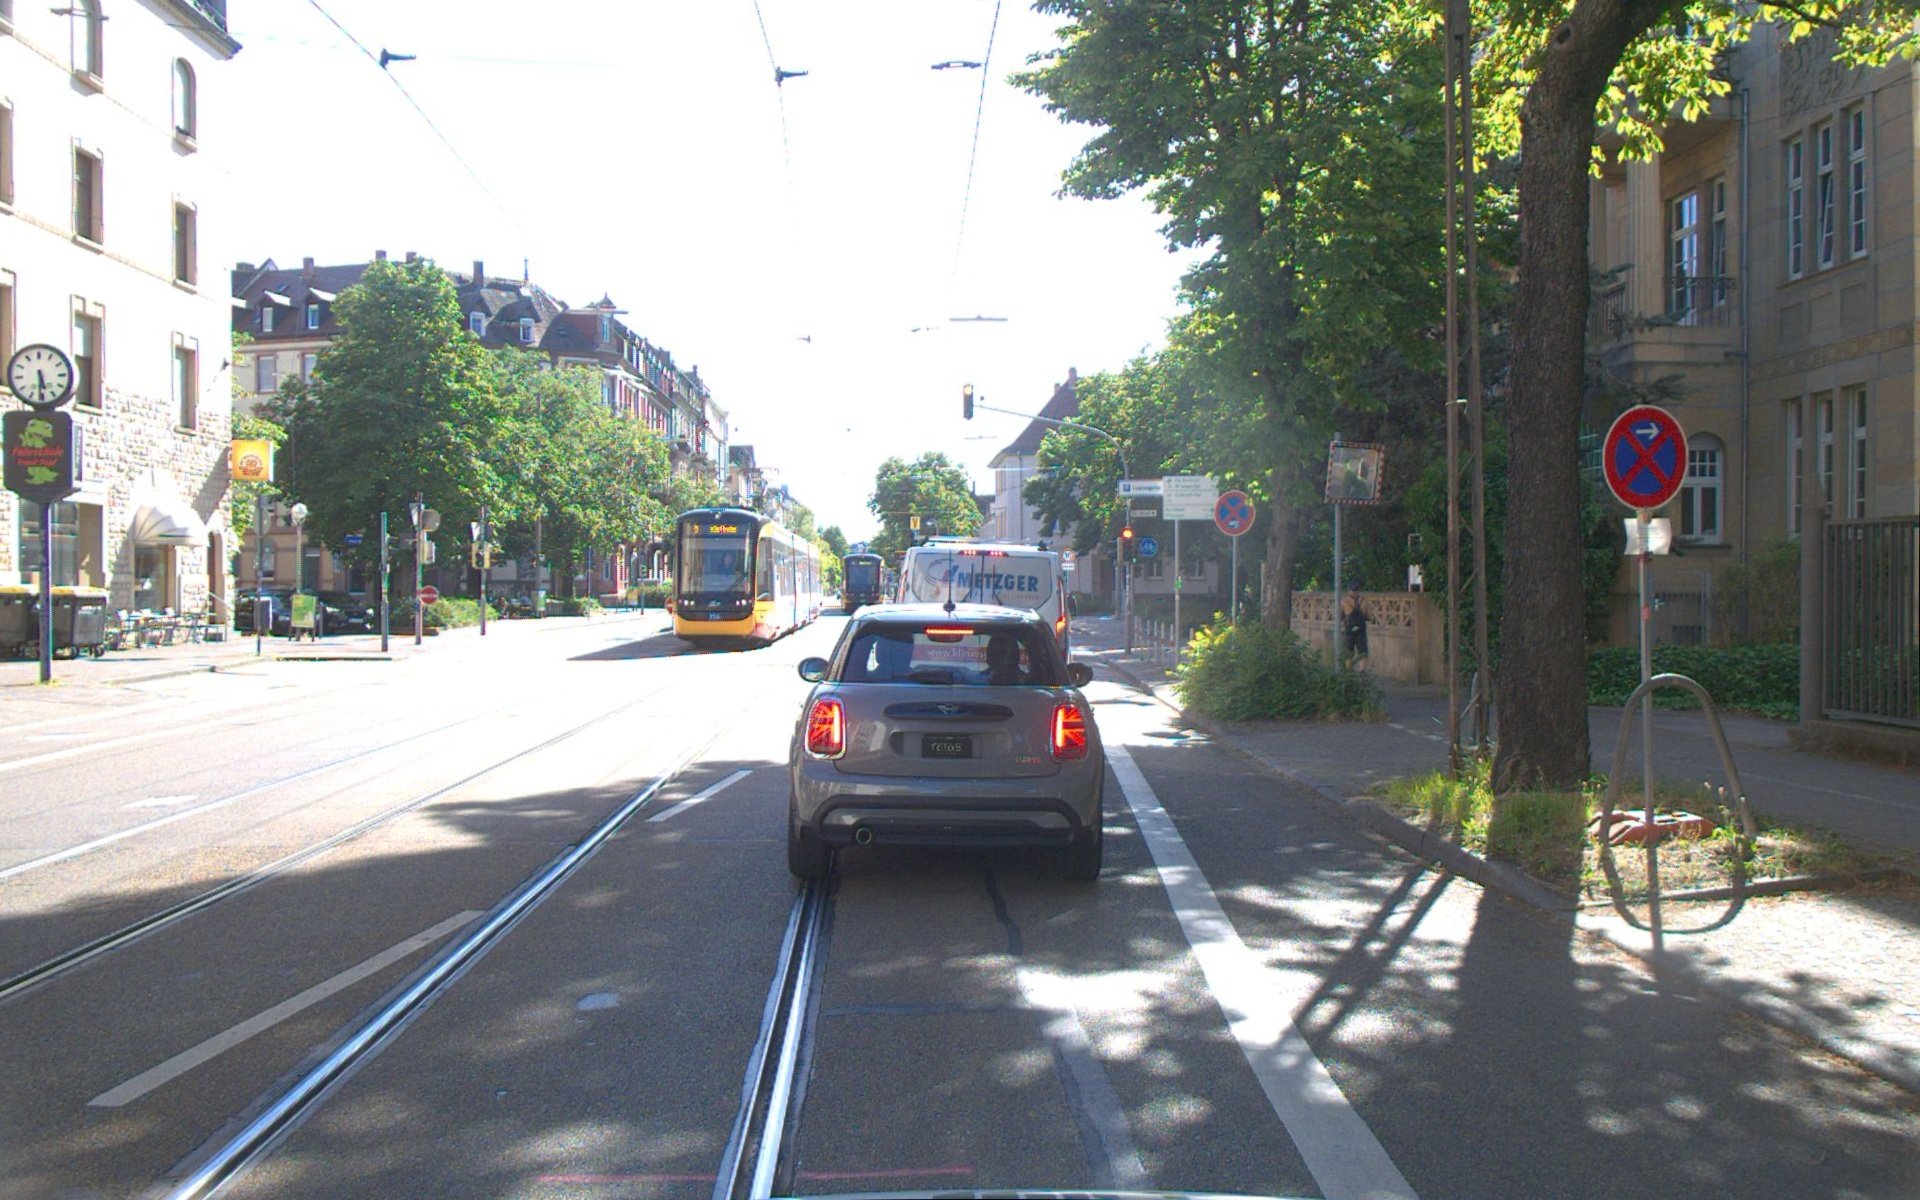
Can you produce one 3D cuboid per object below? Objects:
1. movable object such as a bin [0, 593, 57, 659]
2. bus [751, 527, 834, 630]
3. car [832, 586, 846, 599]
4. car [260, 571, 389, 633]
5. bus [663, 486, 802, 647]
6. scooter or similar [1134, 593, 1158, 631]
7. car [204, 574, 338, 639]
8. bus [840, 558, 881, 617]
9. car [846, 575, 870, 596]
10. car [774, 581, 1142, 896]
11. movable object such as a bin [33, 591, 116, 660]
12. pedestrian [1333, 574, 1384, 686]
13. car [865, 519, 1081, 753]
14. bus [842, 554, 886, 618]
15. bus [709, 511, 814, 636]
[{"bbox_3d":[-18.026,0.486,31.606,0.815,1.244,1.244,1,0,1],"label":"movable object such as a bin"},{"bbox_3d":[-6.795,-0.788,68.492,2.793,3.843,12.189,1,0,-3],"label":"bus"},{"bbox_3d":[-15.922,-1.014,217.348,1.741,1.646,3.996,1,0,-4],"label":"car"},{"bbox_3d":[-21.622,0.059,56.282,3.910,2.049,1.997,1,0,28],"label":"car"},{"bbox_3d":[-6.047,-0.785,45.690,2.803,3.843,11.490,1,0,-3],"label":"bus"},{"bbox_3d":[6.610,0.424,58.913,0.662,1.333,1.328,1,0,-2],"label":"scooter or similar"},{"bbox_3d":[-22.570,0.210,54.190,3.910,2.049,1.997,1,0,28],"label":"car"},{"bbox_3d":[-6.368,-0.757,104.815,2.339,3.557,7.376,1,0,-5],"label":"bus"},{"bbox_3d":[-8.039,-1.139,130.508,1.827,1.591,3.996,1,0,-4],"label":"car"},{"bbox_3d":[-0.038,0.688,10.092,1.778,1.514,3.999,1,0,-1],"label":"car"},{"bbox_3d":[-17.124,0.487,32.011,0.925,1.296,1.144,1,0,3],"label":"movable object such as a bin"},{"bbox_3d":[6.143,0.459,25.535,0.580,1.700,0.646,-2,0,-1],"label":"pedestrian"},{"bbox_3d":[0.094,0.360,18.598,2.075,2.247,4.943,1,0,-1],"label":"car"},{"bbox_3d":[-5.726,-0.795,97.439,2.339,3.557,7.376,1,0,-5],"label":"bus"},{"bbox_3d":[-6.665,-0.794,56.977,2.803,3.843,11.176,1,0,-3],"label":"bus"}]
